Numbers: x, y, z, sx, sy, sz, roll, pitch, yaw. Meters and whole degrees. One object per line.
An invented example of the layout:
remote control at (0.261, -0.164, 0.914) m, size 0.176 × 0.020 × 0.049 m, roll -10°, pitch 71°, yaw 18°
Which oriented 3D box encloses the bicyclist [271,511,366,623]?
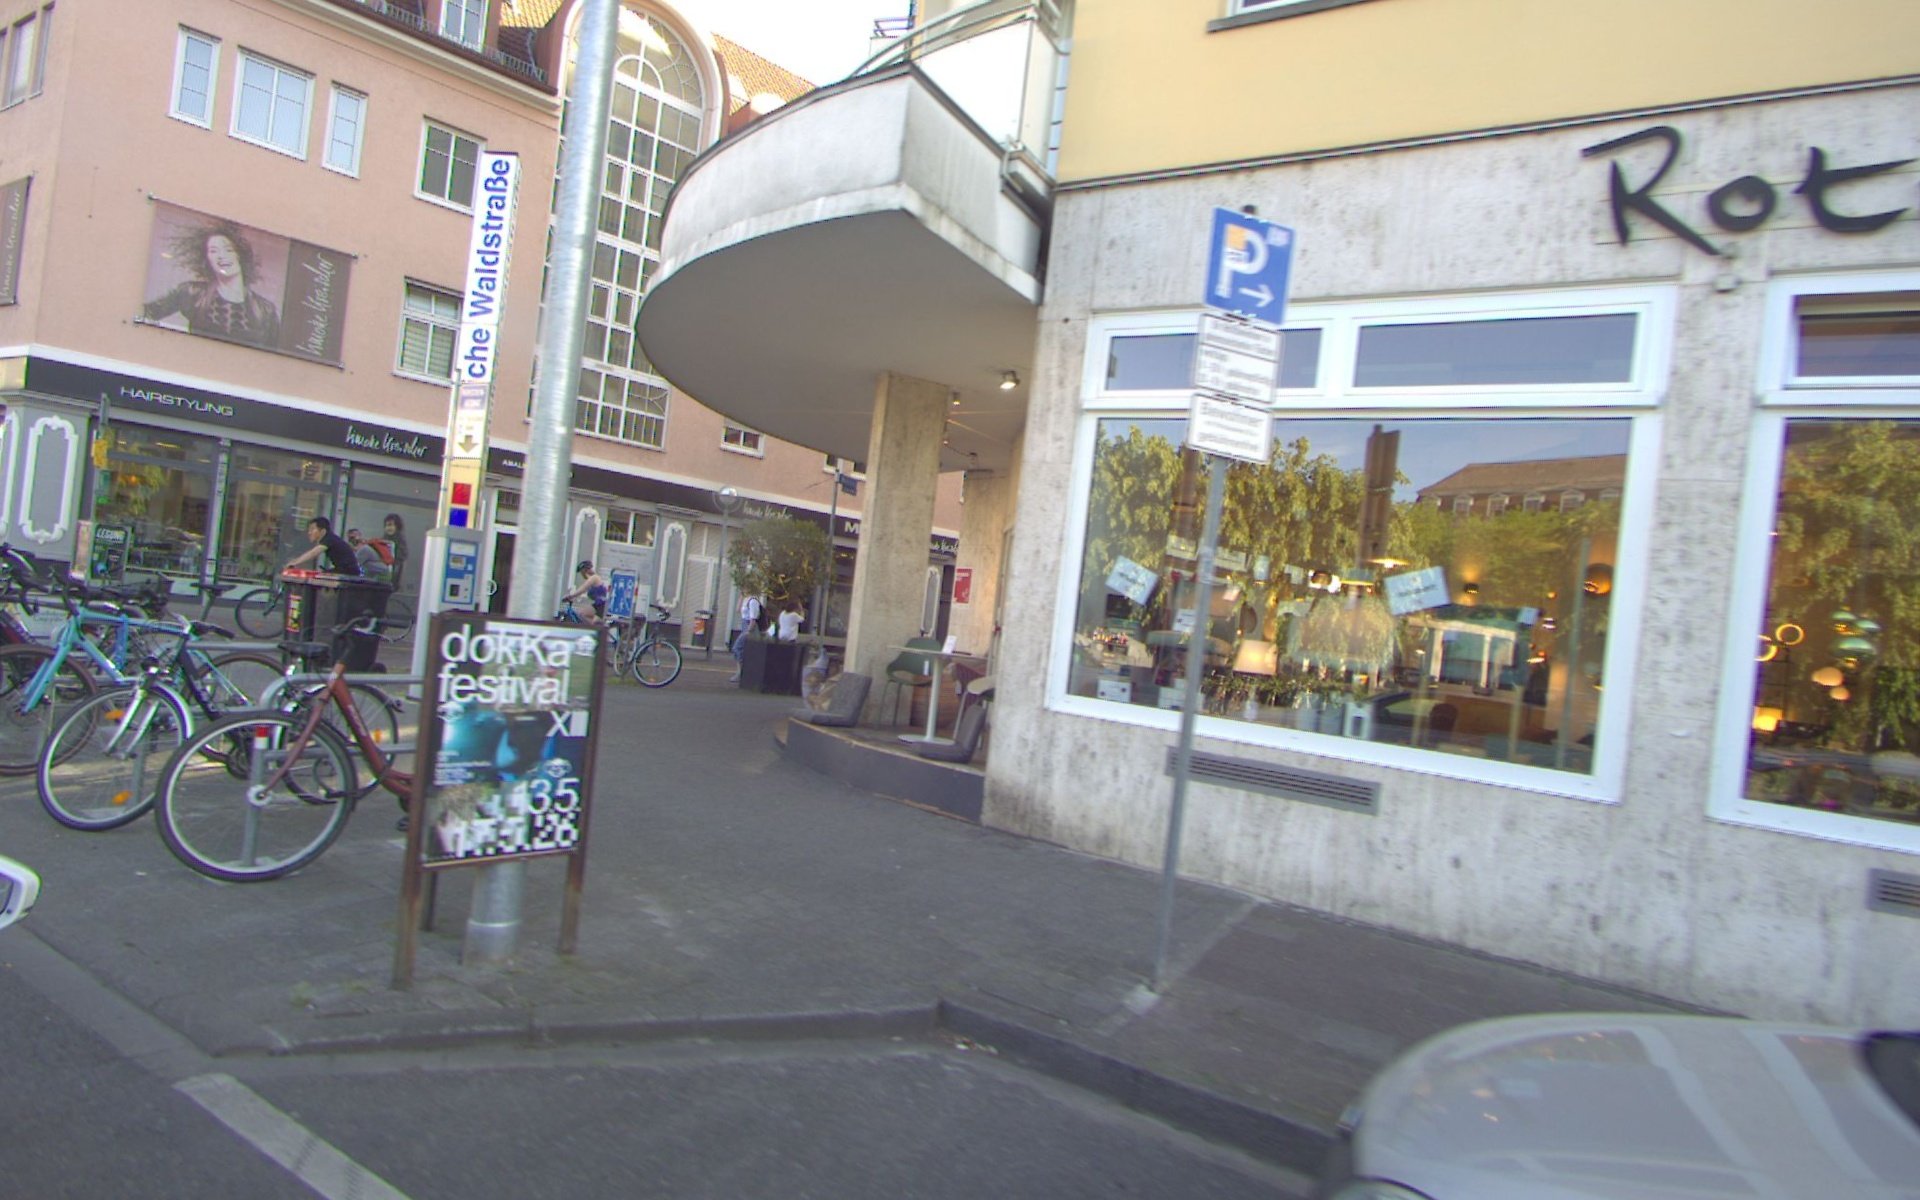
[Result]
bicyclist at (-9.093, -0.462, 14.253) m, size 0.919 × 1.431 × 0.797 m, roll 7°, pitch -1°, yaw -39°

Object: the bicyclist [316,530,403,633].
bicyclist at (-9.400, -0.296, 15.738) m, size 0.942 × 1.467 × 0.797 m, roll 7°, pitch -1°, yaw -39°

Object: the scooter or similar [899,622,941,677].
scooter or similar at (-1.012, 1.240, 25.384) m, size 0.821 × 1.260 × 0.778 m, roll 7°, pitch -1°, yaw 6°

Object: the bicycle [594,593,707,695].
bicycle at (-4.472, 0.596, 14.399) m, size 0.656 × 1.213 × 2.187 m, roll 7°, pitch -1°, yaw -39°

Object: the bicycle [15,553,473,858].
bicycle at (-3.649, 0.507, 5.267) m, size 0.778 × 1.284 × 1.721 m, roll 7°, pitch 0°, yaw 37°

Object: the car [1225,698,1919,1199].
car at (2.321, 1.102, 1.230) m, size 3.583 × 1.397 × 1.617 m, roll 6°, pitch -3°, yaw 32°

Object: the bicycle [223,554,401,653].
bicycle at (-9.149, 0.061, 14.252) m, size 1.959 × 1.163 × 0.782 m, roll 7°, pitch -1°, yaw -40°

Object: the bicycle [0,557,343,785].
bicycle at (-4.810, 0.400, 5.910) m, size 0.770 × 1.138 × 1.797 m, roll 7°, pitch 0°, yaw 37°

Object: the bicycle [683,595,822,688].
bicycle at (-3.498, 0.711, 17.065) m, size 2.122 × 1.331 × 0.580 m, roll 8°, pitch -1°, yaw -30°

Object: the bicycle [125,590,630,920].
bicycle at (-2.643, 0.657, 4.796) m, size 0.681 × 1.208 × 1.885 m, roll 8°, pitch 1°, yaw 37°

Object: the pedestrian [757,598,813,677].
pedestrian at (-3.725, 0.794, 21.377) m, size 0.744 × 1.570 × 0.691 m, roll 8°, pitch -1°, yaw -41°

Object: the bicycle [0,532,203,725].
bicycle at (-6.630, 0.180, 7.075) m, size 0.820 × 1.273 × 1.860 m, roll 7°, pitch 0°, yaw 37°

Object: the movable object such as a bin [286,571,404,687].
movable object such as a bin at (-6.461, 0.310, 10.585) m, size 0.617 × 1.104 × 0.754 m, roll 6°, pitch -2°, yaw 33°

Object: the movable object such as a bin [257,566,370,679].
movable object such as a bin at (-6.998, 0.254, 10.904) m, size 0.617 × 1.104 × 0.734 m, roll 6°, pitch -2°, yaw 33°

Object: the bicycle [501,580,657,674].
bicycle at (-6.032, 0.437, 15.972) m, size 2.154 × 1.237 × 0.676 m, roll 8°, pitch -1°, yaw -27°

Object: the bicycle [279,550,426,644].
bicycle at (-9.472, -0.037, 15.724) m, size 1.786 × 1.236 × 0.673 m, roll 8°, pitch -1°, yaw -40°

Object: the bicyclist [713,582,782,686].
bicyclist at (-3.589, 0.571, 16.983) m, size 0.828 × 1.644 × 0.569 m, roll 8°, pitch -2°, yaw -29°

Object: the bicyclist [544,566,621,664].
bicyclist at (-6.002, 0.228, 15.973) m, size 0.915 × 1.431 × 0.800 m, roll 7°, pitch -1°, yaw -28°

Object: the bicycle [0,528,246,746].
bicycle at (-5.810, 0.224, 6.473) m, size 0.768 × 1.283 × 1.746 m, roll 7°, pitch 0°, yaw 34°
